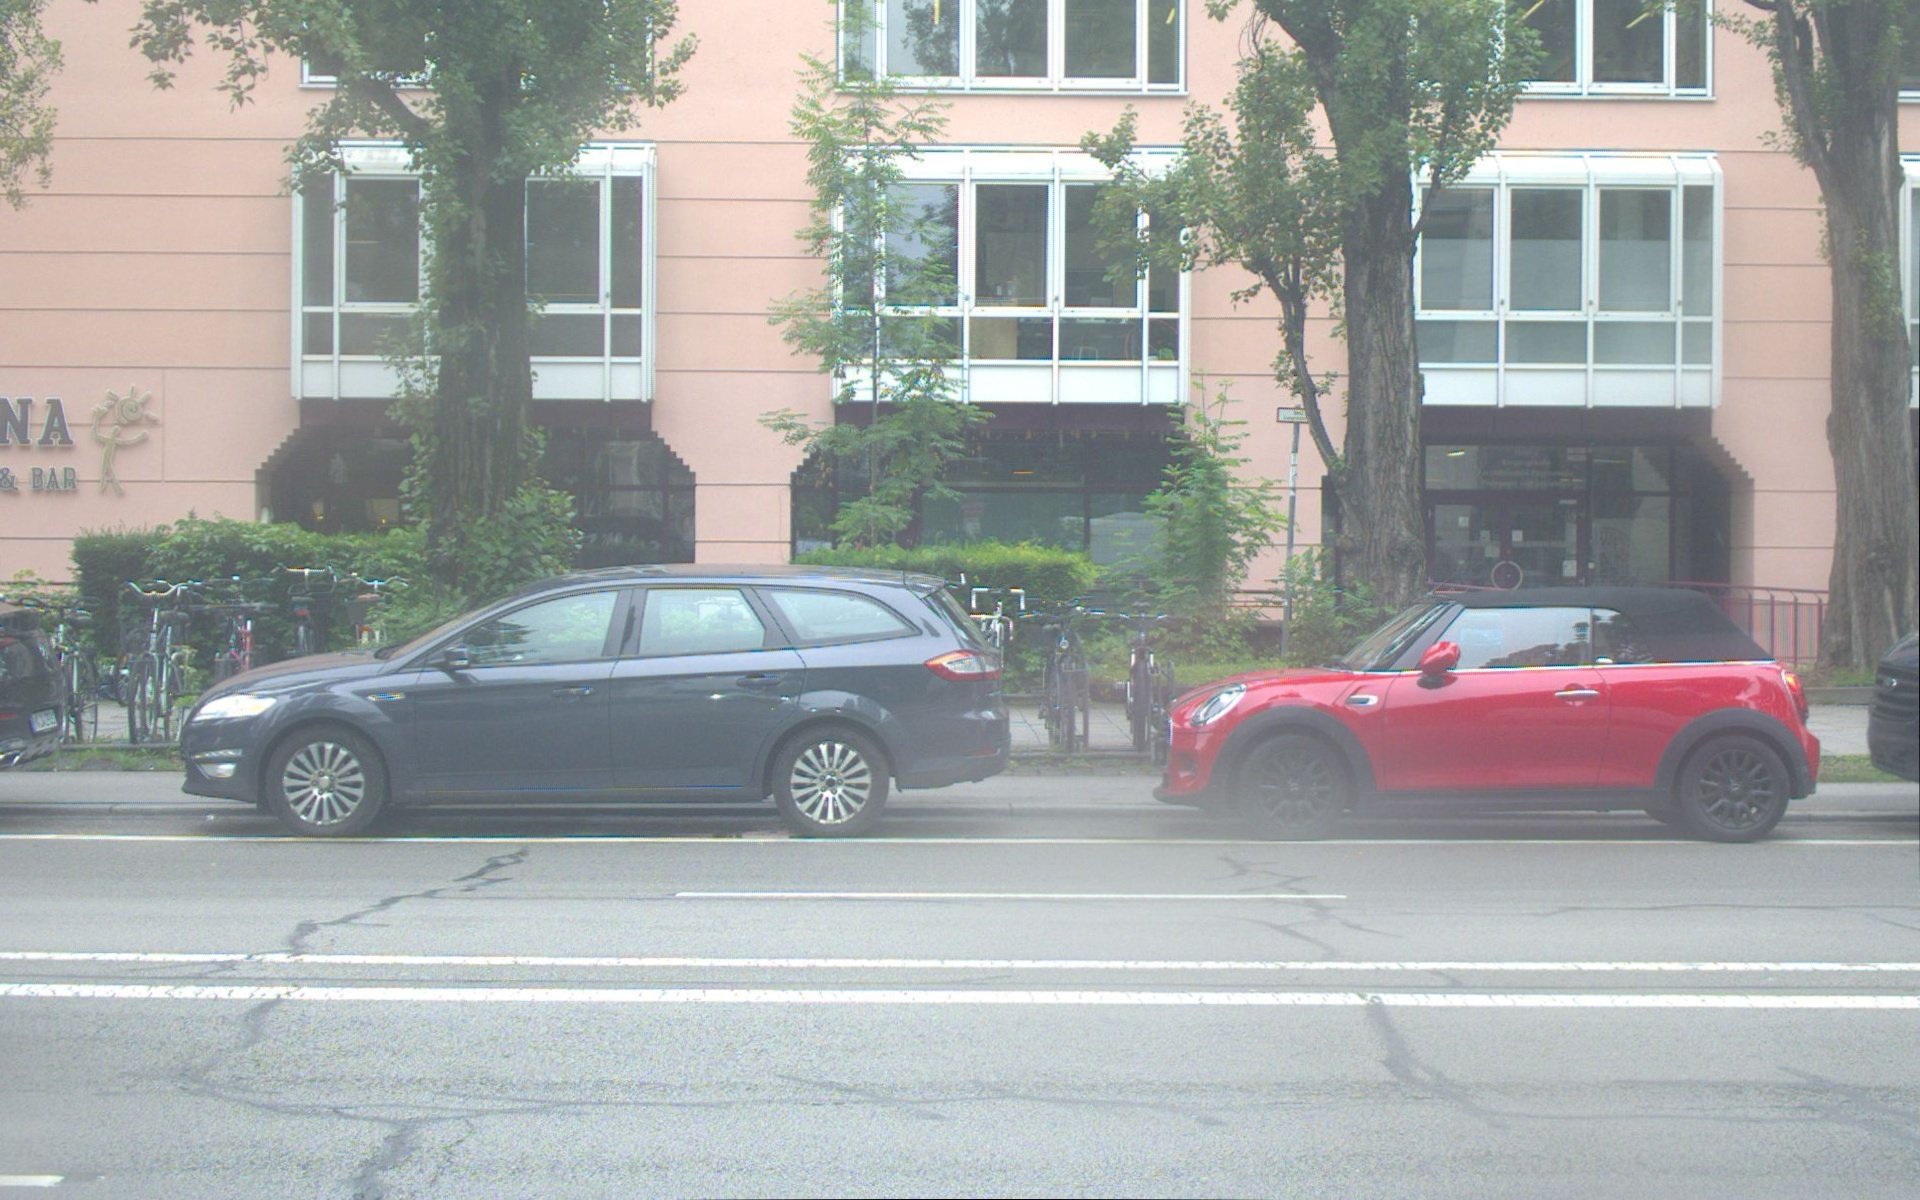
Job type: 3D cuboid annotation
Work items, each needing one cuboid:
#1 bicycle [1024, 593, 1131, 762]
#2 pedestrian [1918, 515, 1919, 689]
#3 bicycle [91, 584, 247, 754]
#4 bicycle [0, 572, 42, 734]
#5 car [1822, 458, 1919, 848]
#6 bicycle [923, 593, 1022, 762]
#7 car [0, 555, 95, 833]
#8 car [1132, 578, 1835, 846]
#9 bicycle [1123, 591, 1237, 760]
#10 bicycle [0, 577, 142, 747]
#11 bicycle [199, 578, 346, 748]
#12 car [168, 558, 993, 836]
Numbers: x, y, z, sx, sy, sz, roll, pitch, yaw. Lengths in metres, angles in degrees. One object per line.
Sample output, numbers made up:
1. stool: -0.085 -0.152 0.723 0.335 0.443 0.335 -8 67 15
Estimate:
1. bicycle: 0.818 0.531 24.419 0.674 1.120 1.742 0 1 -1
2. pedestrian: 9.757 0.029 33.377 0.707 1.708 0.732 0 1 2
3. bicycle: -5.600 0.463 24.445 0.674 1.120 1.989 0 1 -1
4. bicycle: -7.103 0.381 24.397 0.674 1.120 1.989 0 1 -1
5. car: 8.112 0.281 20.344 5.478 2.189 2.024 0 1 -1
6. bicycle: 0.074 0.527 24.409 0.674 1.120 1.742 0 1 -1
7. car: -7.501 0.506 20.013 4.499 1.523 1.794 0 1 -1
8. car: 2.961 0.620 20.044 3.860 1.444 1.678 0 1 1
9. bicycle: 1.551 0.516 24.442 0.674 1.120 1.729 0 1 -1
10. bicycle: -6.374 0.414 24.415 0.674 1.120 1.989 0 1 -1
11. bicycle: -4.868 0.424 24.447 0.674 1.120 1.989 0 1 -1
12. car: -2.138 0.536 20.146 4.608 1.523 1.794 0 1 -1
